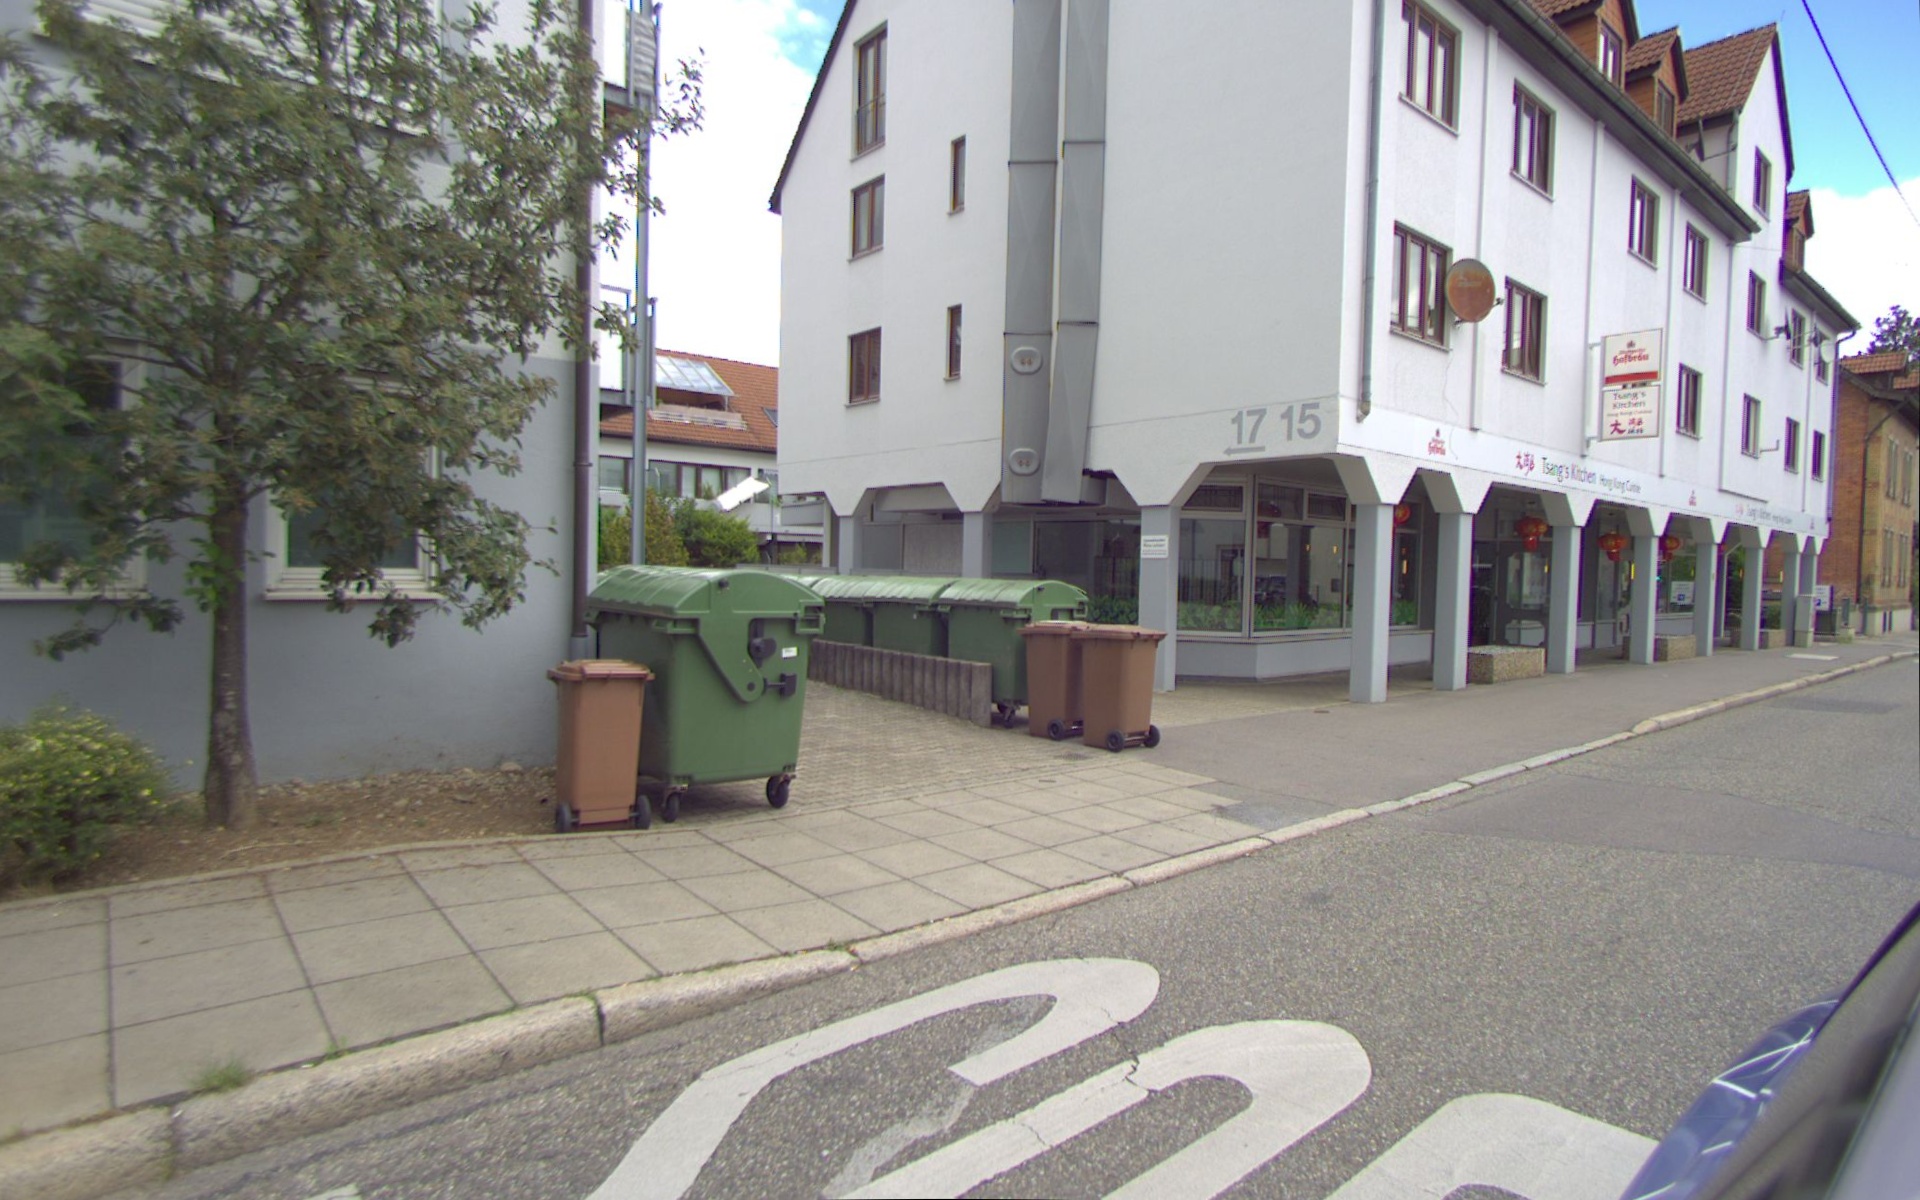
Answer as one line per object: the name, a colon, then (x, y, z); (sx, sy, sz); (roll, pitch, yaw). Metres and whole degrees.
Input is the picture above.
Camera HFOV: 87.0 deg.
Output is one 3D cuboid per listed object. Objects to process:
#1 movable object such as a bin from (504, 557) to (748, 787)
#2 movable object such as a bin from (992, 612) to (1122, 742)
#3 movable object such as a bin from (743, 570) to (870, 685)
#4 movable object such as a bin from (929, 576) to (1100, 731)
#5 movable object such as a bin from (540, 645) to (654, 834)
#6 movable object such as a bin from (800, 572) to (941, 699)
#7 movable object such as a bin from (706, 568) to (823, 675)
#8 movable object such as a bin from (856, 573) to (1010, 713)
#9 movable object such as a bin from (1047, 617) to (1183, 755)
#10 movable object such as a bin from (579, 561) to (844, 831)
movable object such as a bin: (-2.429, 0.437, 7.321); (1.284, 1.452, 1.270); (0, 2, -40)
movable object such as a bin: (0.898, 0.675, 9.384); (0.953, 1.092, 0.700); (0, 2, -37)
movable object such as a bin: (-2.065, 0.333, 13.579); (1.236, 1.435, 1.213); (0, 2, -37)
movable object such as a bin: (0.548, 0.491, 10.337); (1.236, 1.435, 1.213); (0, 2, -37)
movable object such as a bin: (-1.994, 0.737, 5.552); (0.457, 0.932, 0.431); (0, 2, -40)
movable object such as a bin: (-1.104, 0.391, 12.379); (1.236, 1.435, 1.213); (0, 2, -37)
movable object such as a bin: (-2.819, 0.281, 14.577); (1.236, 1.435, 1.213); (0, 2, -37)
movable object such as a bin: (-0.316, 0.437, 11.395); (1.236, 1.435, 1.213); (0, 2, -37)
movable object such as a bin: (1.348, 0.707, 8.807); (0.953, 1.080, 0.685); (0, 2, -37)
movable object such as a bin: (-1.559, 0.498, 6.279); (1.142, 1.435, 1.270); (0, 2, -40)
